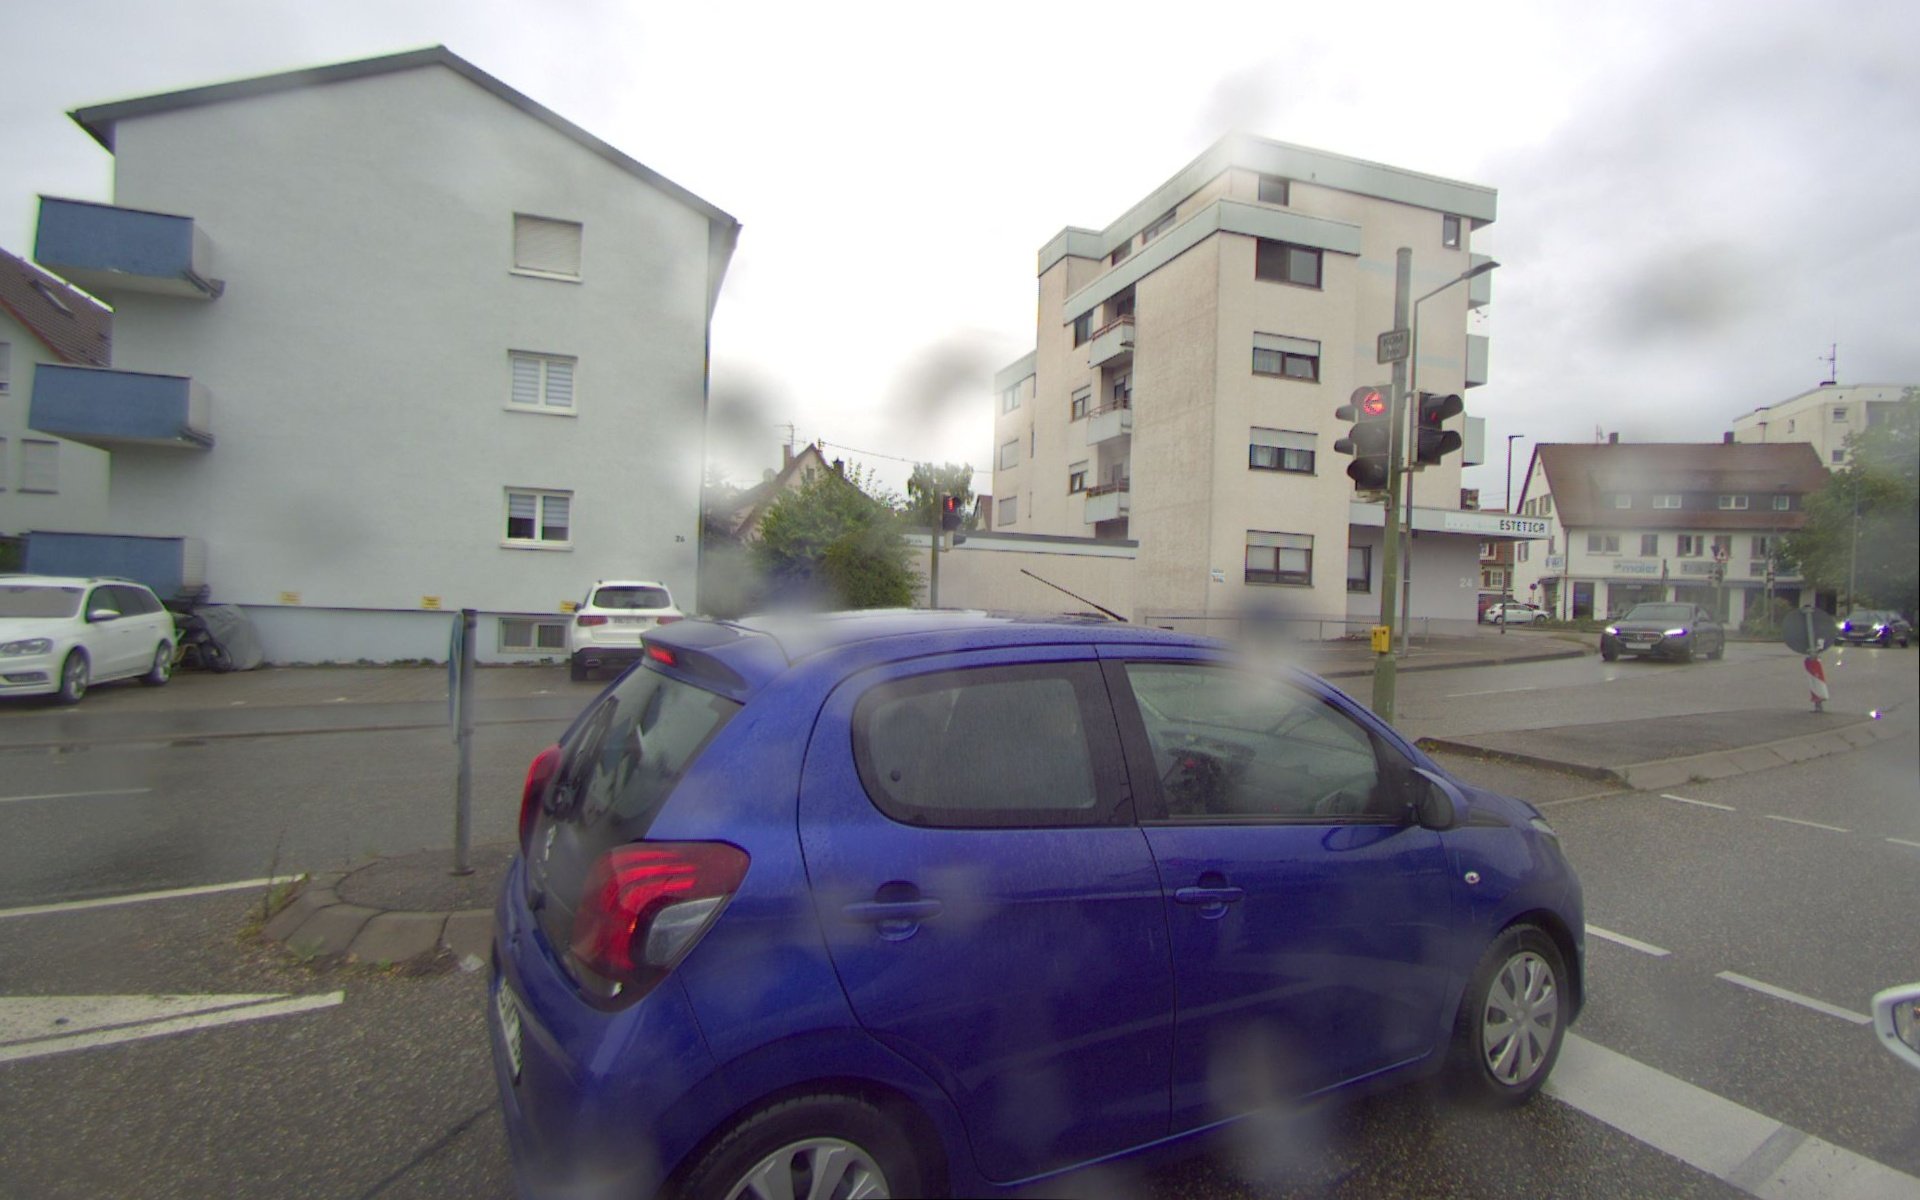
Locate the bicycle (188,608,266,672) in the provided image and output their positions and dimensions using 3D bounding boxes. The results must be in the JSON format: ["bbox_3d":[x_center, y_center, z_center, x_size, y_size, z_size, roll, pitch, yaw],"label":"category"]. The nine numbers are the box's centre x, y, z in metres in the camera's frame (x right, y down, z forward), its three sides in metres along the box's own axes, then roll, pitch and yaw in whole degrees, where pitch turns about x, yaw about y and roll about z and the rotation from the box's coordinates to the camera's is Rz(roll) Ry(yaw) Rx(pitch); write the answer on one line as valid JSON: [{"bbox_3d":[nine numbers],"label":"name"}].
[{"bbox_3d":[-12.689,0.684,17.419,1.053,1.067,0.345,0,1,-30],"label":"bicycle"}]

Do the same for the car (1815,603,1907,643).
[{"bbox_3d":[37.576,0.970,41.859,3.959,1.532,1.955,2,0,-34],"label":"car"}]

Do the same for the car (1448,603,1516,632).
[{"bbox_3d":[37.221,1.233,71.722,3.987,1.868,1.889,2,0,14],"label":"car"}]

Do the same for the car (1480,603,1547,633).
[{"bbox_3d":[37.928,1.228,68.892,3.611,1.946,1.889,2,0,14],"label":"car"}]

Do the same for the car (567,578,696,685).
[{"bbox_3d":[-5.758,0.505,17.573,1.884,1.637,3.982,2,0,-19],"label":"car"}]

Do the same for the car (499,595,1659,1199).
[{"bbox_3d":[0.474,0.734,3.098,3.324,1.432,1.498,1,1,-30],"label":"car"}]

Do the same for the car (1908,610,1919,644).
[{"bbox_3d":[47.281,1.349,48.021,4.138,1.618,1.869,2,0,-32],"label":"car"}]

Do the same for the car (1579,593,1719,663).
[{"bbox_3d":[17.877,0.709,25.992,4.505,1.646,1.975,2,0,-42],"label":"car"}]

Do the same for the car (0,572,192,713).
[{"bbox_3d":[-11.476,0.452,12.504,1.854,1.480,4.732,1,-1,-23],"label":"car"}]
